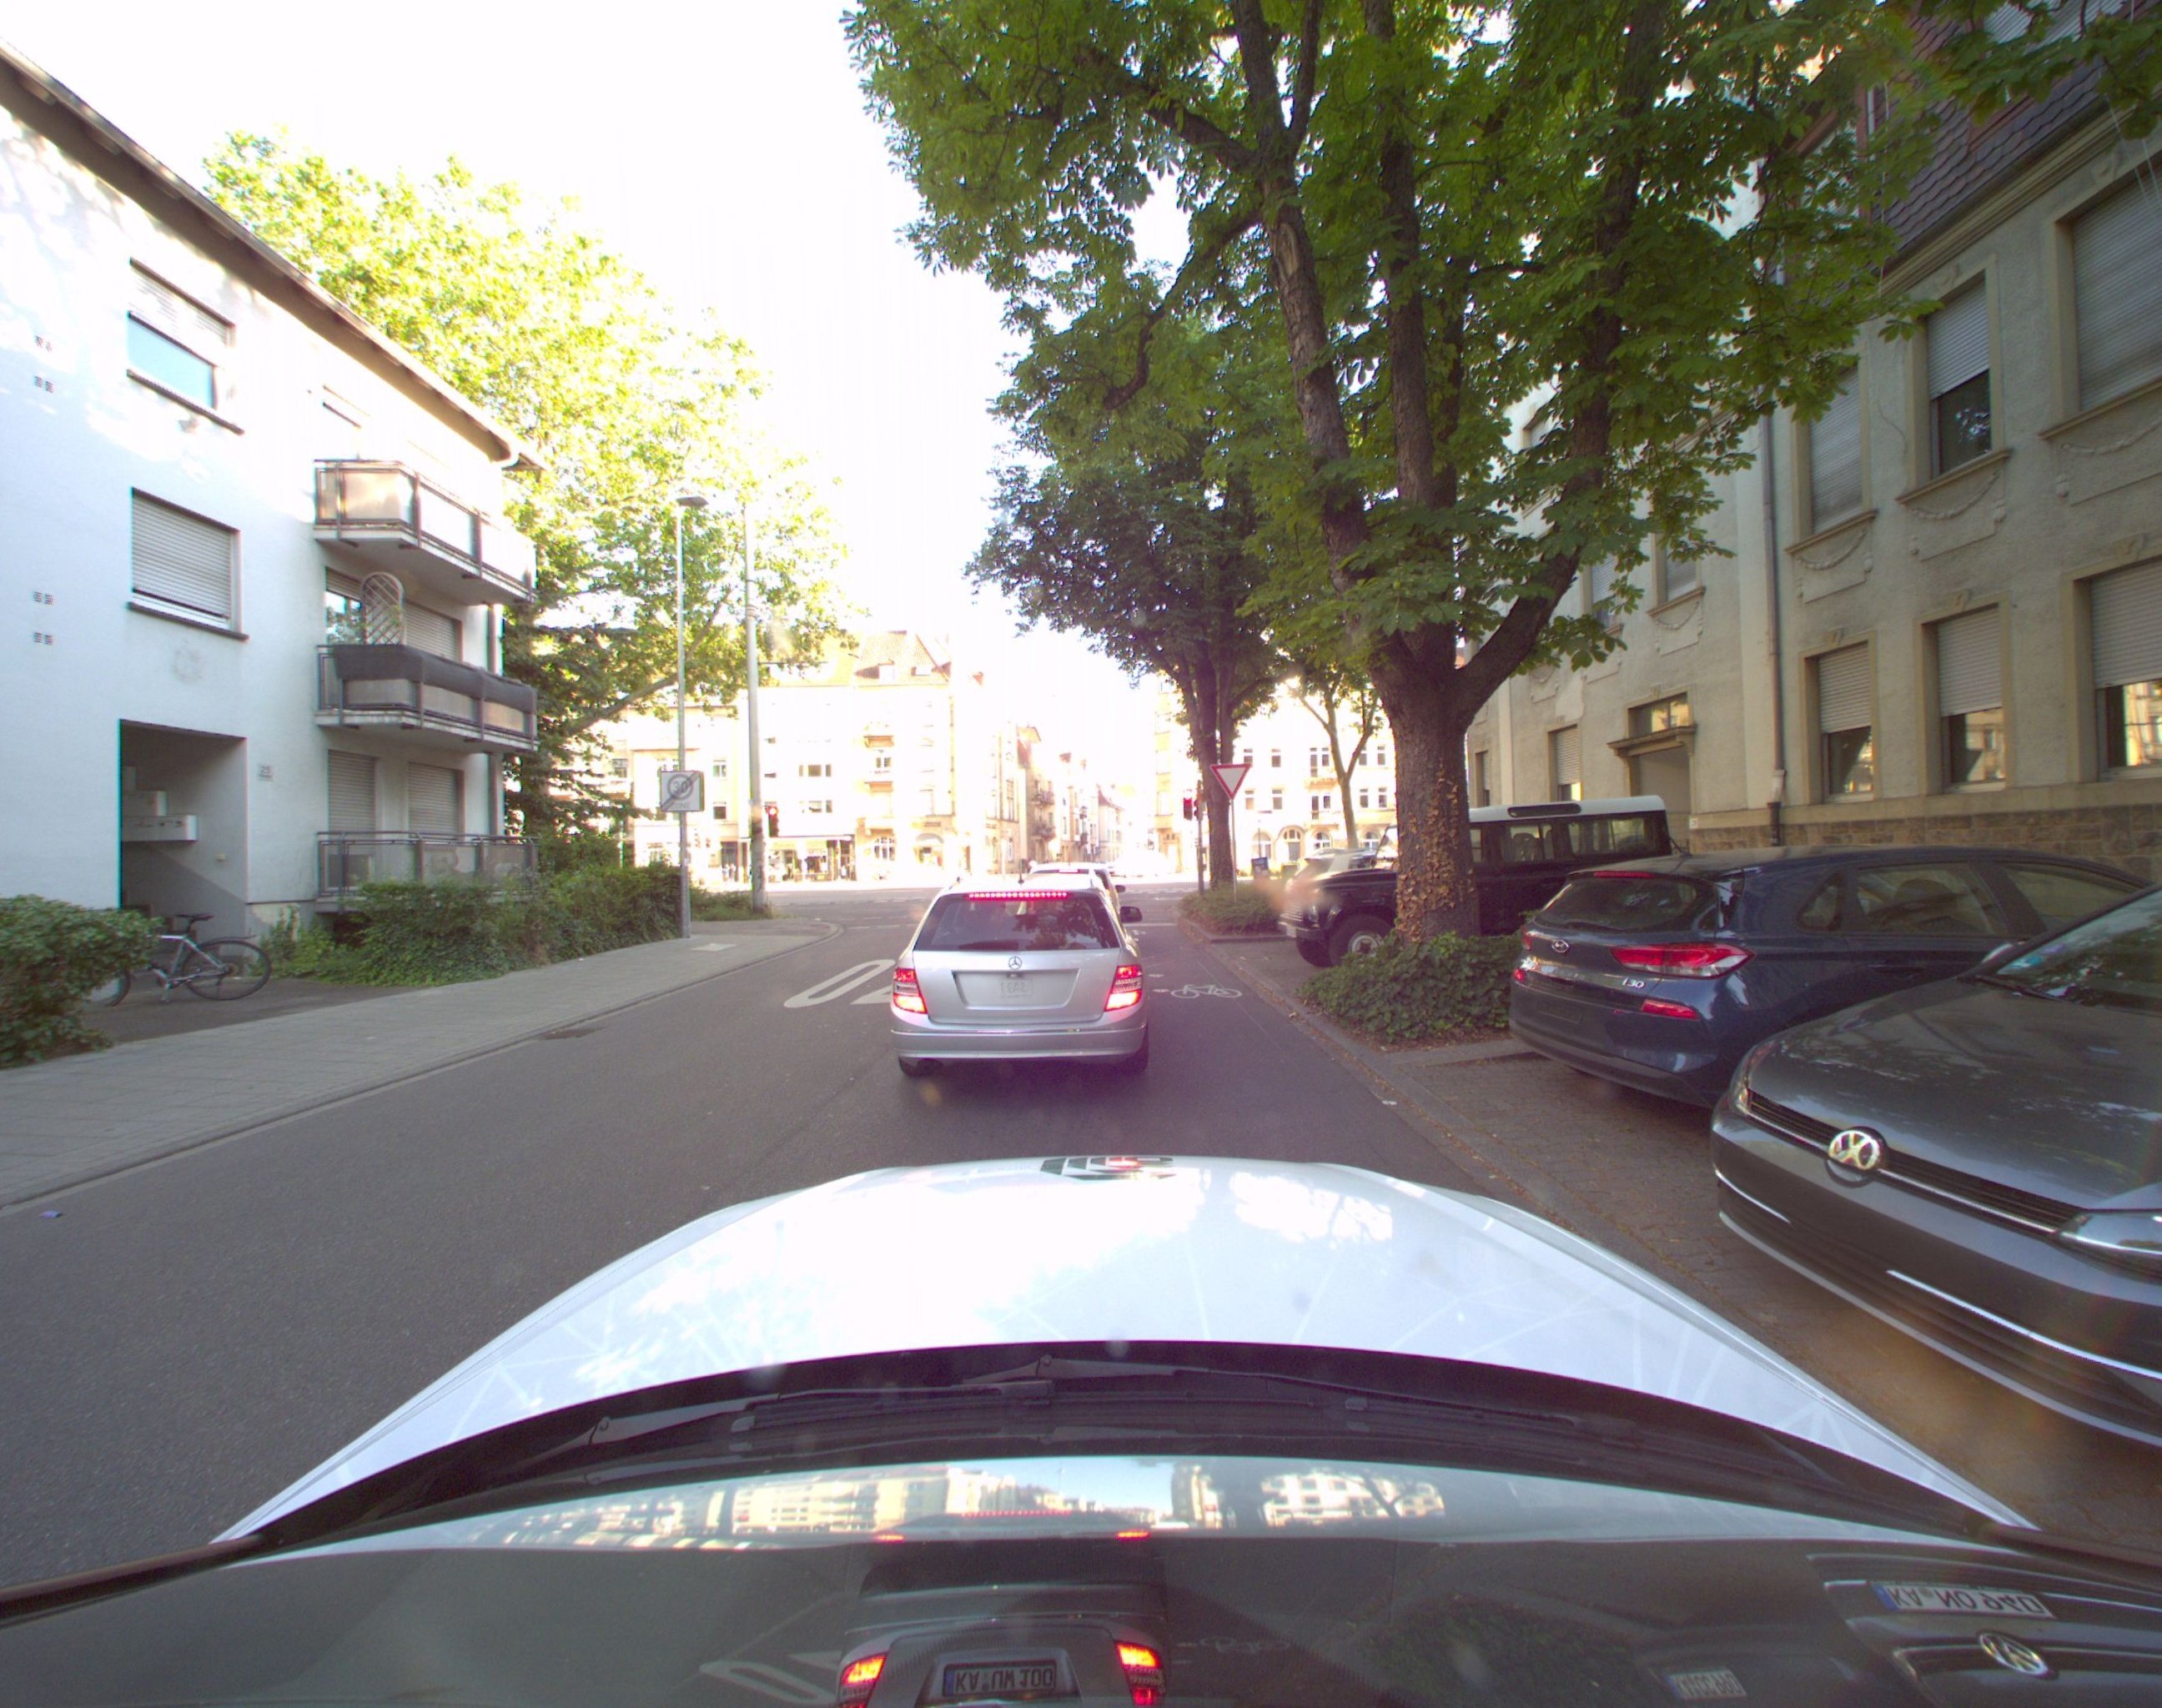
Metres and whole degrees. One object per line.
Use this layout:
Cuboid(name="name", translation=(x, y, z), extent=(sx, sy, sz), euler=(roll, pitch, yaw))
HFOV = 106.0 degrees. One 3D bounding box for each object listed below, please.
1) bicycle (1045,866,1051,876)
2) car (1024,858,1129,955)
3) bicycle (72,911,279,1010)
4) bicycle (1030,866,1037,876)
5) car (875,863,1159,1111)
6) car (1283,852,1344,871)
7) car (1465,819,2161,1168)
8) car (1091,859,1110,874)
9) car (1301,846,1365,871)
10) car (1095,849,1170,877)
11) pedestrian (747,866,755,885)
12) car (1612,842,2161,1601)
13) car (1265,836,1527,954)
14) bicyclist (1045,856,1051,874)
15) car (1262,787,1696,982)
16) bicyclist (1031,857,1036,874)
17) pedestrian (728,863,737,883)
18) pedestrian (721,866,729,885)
Cuboid(name="bicycle", translation=(-2.977, 1.507, 73.658), extent=(0.567, 0.834, 1.565), euler=(-1, 0, -1))
Cuboid(name="car", translation=(-0.049, 0.783, 13.804), extent=(1.528, 1.391, 3.599), euler=(-1, 0, 0))
Cuboid(name="bicycle", translation=(-10.010, 1.151, 9.077), extent=(1.469, 0.975, 0.402), euler=(2, -2, -38))
Cuboid(name="bicycle", translation=(-4.291, 1.547, 73.761), extent=(0.567, 0.834, 1.565), euler=(-1, 0, -1))
Cuboid(name="car", translation=(-0.397, 0.804, 6.591), extent=(1.685, 1.429, 3.491), euler=(0, 0, -1))
Cuboid(name="car", translation=(14.158, 0.474, 49.733), extent=(3.352, 1.069, 1.380), euler=(-2, 0, 0))
Cuboid(name="car", translation=(4.423, 0.610, 4.547), extent=(3.739, 1.422, 1.627), euler=(-3, -1, -2))
Cuboid(name="car", translation=(2.524, 1.542, 102.547), extent=(1.639, 1.783, 3.876), euler=(-1, -1, 13))
Cuboid(name="car", translation=(15.911, 0.266, 51.535), extent=(3.567, 1.501, 1.621), euler=(-2, 1, 1))
Cuboid(name="car", translation=(3.023, 0.521, 47.479), extent=(4.321, 1.461, 1.766), euler=(-2, 1, -39))
Cuboid(name="pedestrian", translation=(-26.202, 1.710, 64.670), extent=(0.474, 1.511, 0.428), euler=(-1, 0, -18))
Cuboid(name="car", translation=(4.094, 0.657, 2.348), extent=(4.037, 1.422, 1.627), euler=(-3, -1, -2))
Cuboid(name="car", translation=(4.938, 0.609, 13.057), extent=(3.475, 1.586, 1.708), euler=(-3, 0, -5))
Cuboid(name="bicyclist", translation=(-2.985, 0.992, 73.742), extent=(0.465, 1.521, 0.693), euler=(-1, 0, -2))
Cuboid(name="car", translation=(4.756, 0.348, 10.188), extent=(4.478, 1.956, 1.792), euler=(-3, 0, -1))
Cuboid(name="bicyclist", translation=(-4.292, 1.021, 73.662), extent=(0.465, 1.514, 0.655), euler=(-1, 0, -2))
Cuboid(name="pedestrian", translation=(-27.364, 1.505, 63.871), extent=(0.566, 1.511, 0.499), euler=(-1, 0, -17))
Cuboid(name="pedestrian", translation=(-28.389, 1.737, 64.975), extent=(0.511, 1.511, 0.532), euler=(-1, 0, -26))
